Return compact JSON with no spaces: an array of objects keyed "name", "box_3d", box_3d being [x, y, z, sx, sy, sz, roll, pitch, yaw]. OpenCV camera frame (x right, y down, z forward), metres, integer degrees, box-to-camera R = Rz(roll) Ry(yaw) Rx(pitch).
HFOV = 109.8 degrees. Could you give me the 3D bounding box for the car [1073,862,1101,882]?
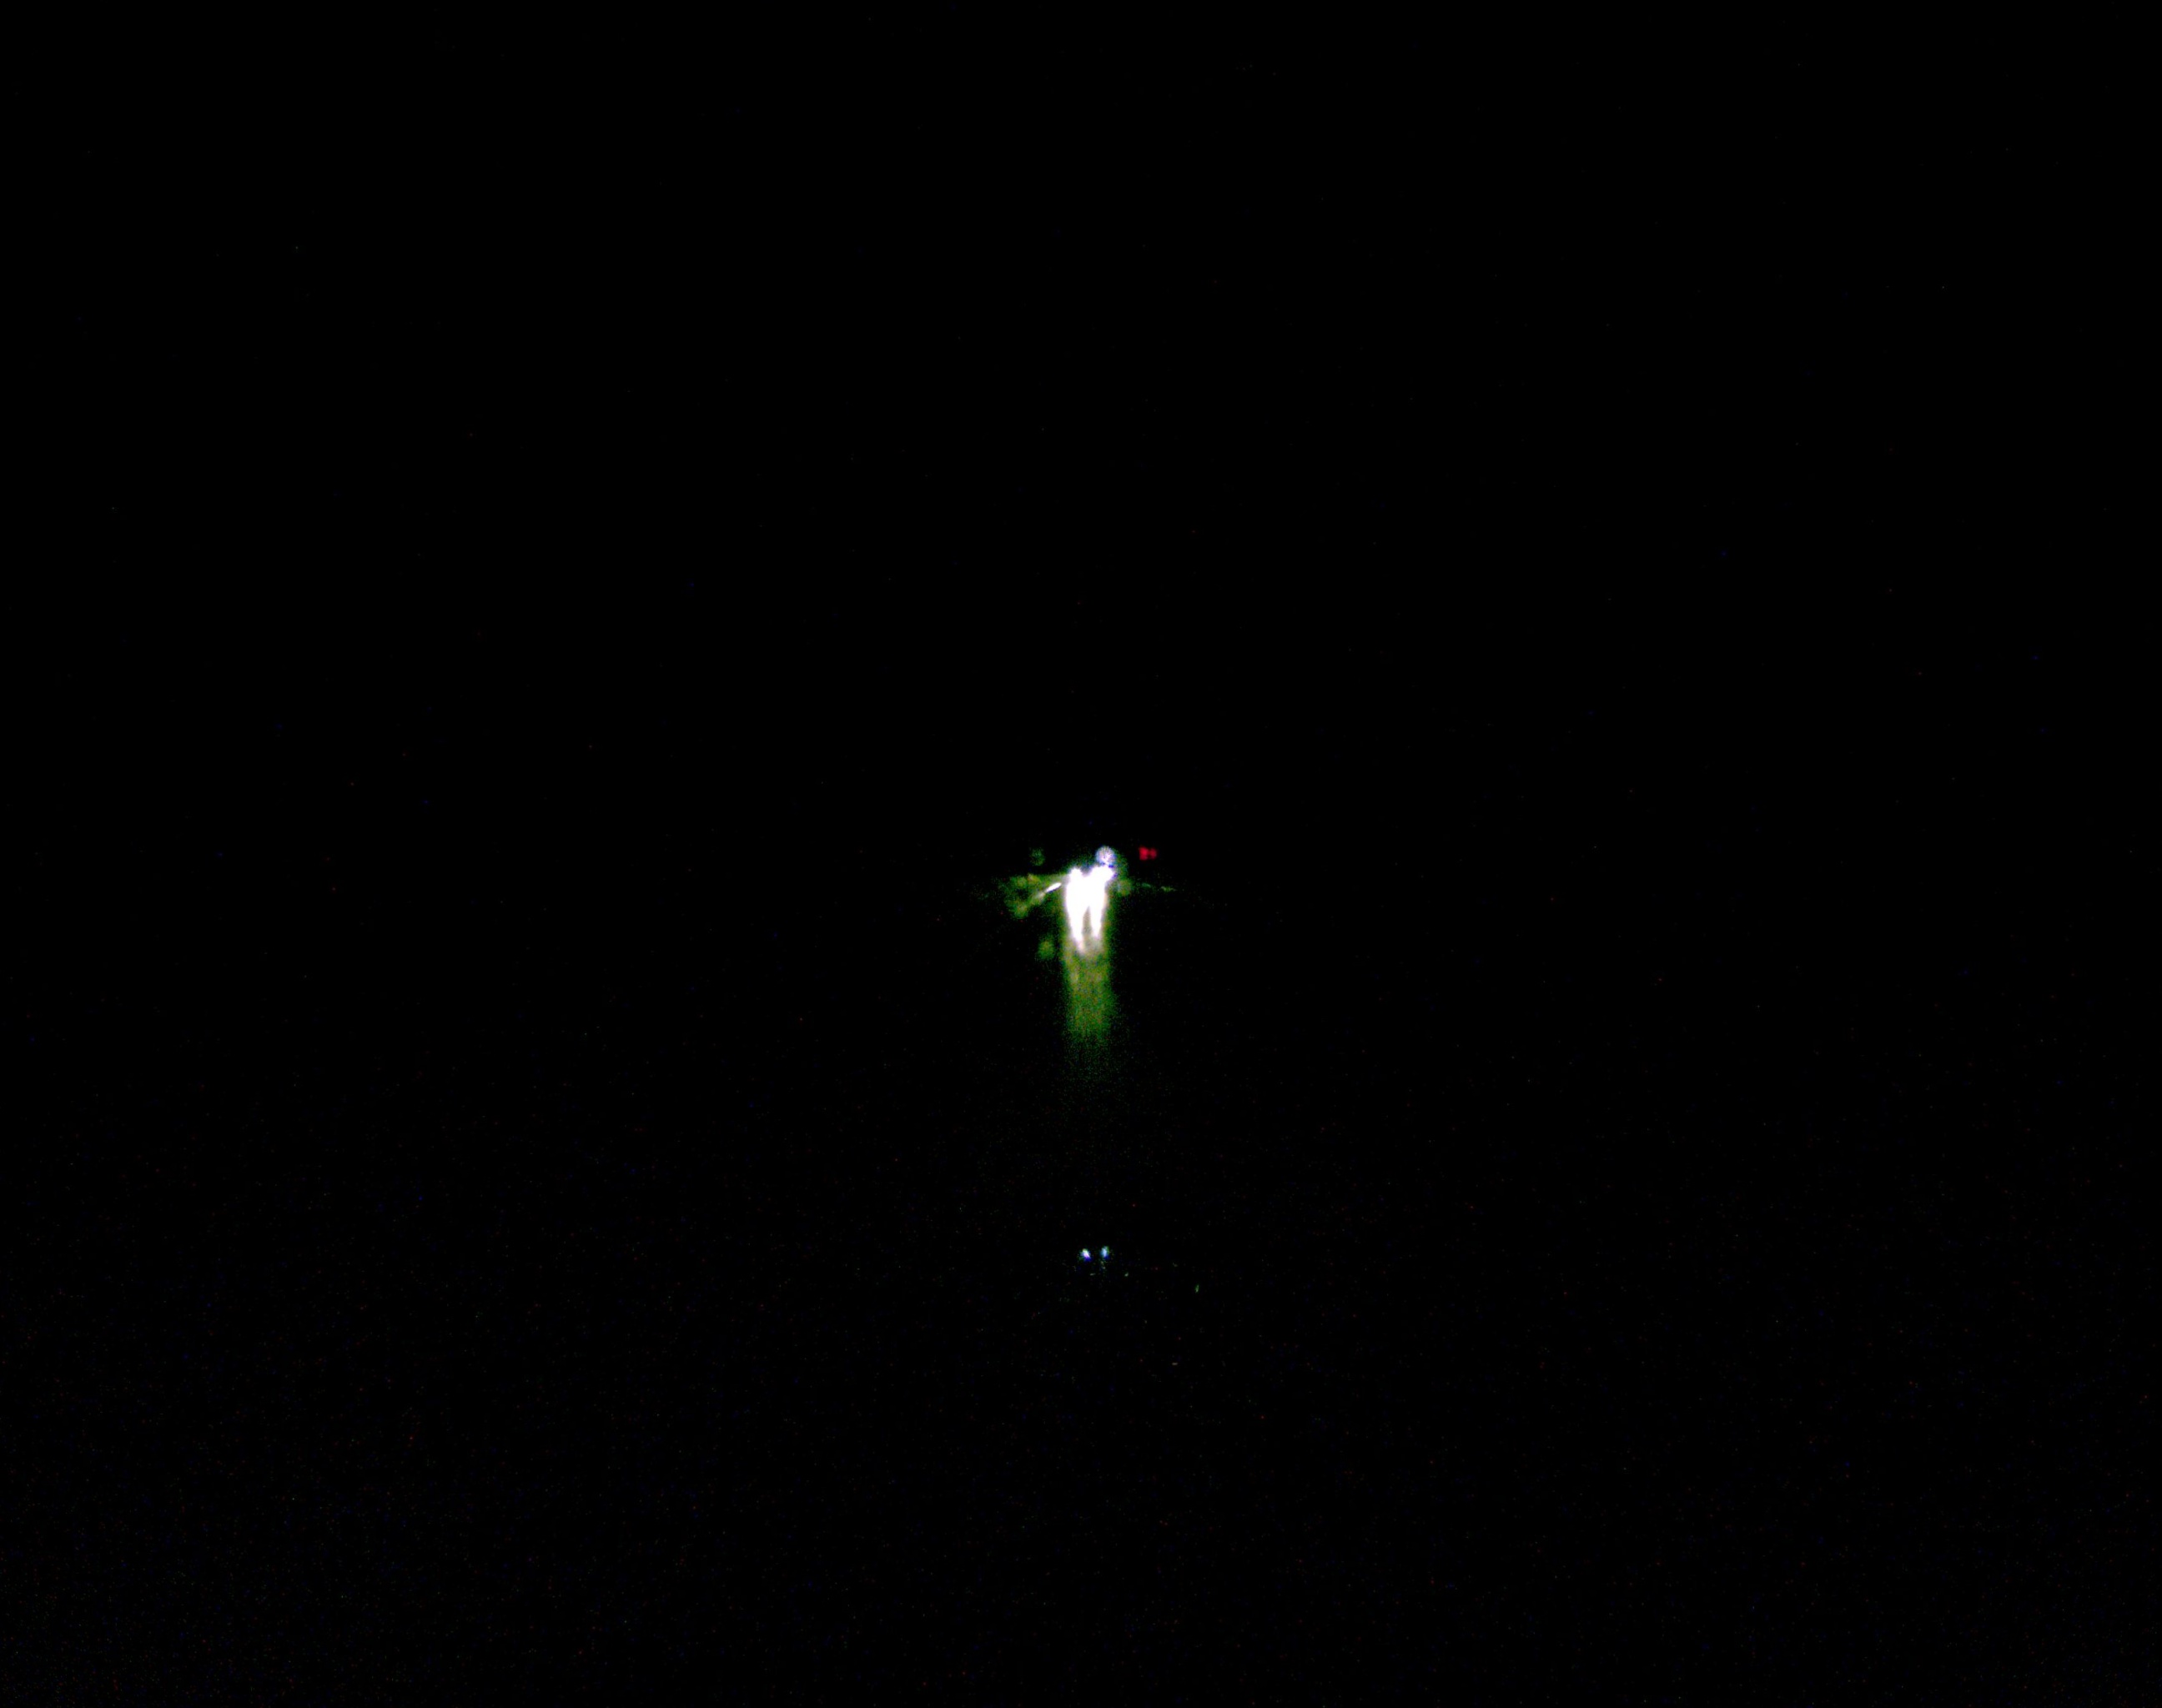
[{"name":"car","box_3d":[0.562,1.473,63.299,1.998,1.412,4.001,-2,1,4]}]
